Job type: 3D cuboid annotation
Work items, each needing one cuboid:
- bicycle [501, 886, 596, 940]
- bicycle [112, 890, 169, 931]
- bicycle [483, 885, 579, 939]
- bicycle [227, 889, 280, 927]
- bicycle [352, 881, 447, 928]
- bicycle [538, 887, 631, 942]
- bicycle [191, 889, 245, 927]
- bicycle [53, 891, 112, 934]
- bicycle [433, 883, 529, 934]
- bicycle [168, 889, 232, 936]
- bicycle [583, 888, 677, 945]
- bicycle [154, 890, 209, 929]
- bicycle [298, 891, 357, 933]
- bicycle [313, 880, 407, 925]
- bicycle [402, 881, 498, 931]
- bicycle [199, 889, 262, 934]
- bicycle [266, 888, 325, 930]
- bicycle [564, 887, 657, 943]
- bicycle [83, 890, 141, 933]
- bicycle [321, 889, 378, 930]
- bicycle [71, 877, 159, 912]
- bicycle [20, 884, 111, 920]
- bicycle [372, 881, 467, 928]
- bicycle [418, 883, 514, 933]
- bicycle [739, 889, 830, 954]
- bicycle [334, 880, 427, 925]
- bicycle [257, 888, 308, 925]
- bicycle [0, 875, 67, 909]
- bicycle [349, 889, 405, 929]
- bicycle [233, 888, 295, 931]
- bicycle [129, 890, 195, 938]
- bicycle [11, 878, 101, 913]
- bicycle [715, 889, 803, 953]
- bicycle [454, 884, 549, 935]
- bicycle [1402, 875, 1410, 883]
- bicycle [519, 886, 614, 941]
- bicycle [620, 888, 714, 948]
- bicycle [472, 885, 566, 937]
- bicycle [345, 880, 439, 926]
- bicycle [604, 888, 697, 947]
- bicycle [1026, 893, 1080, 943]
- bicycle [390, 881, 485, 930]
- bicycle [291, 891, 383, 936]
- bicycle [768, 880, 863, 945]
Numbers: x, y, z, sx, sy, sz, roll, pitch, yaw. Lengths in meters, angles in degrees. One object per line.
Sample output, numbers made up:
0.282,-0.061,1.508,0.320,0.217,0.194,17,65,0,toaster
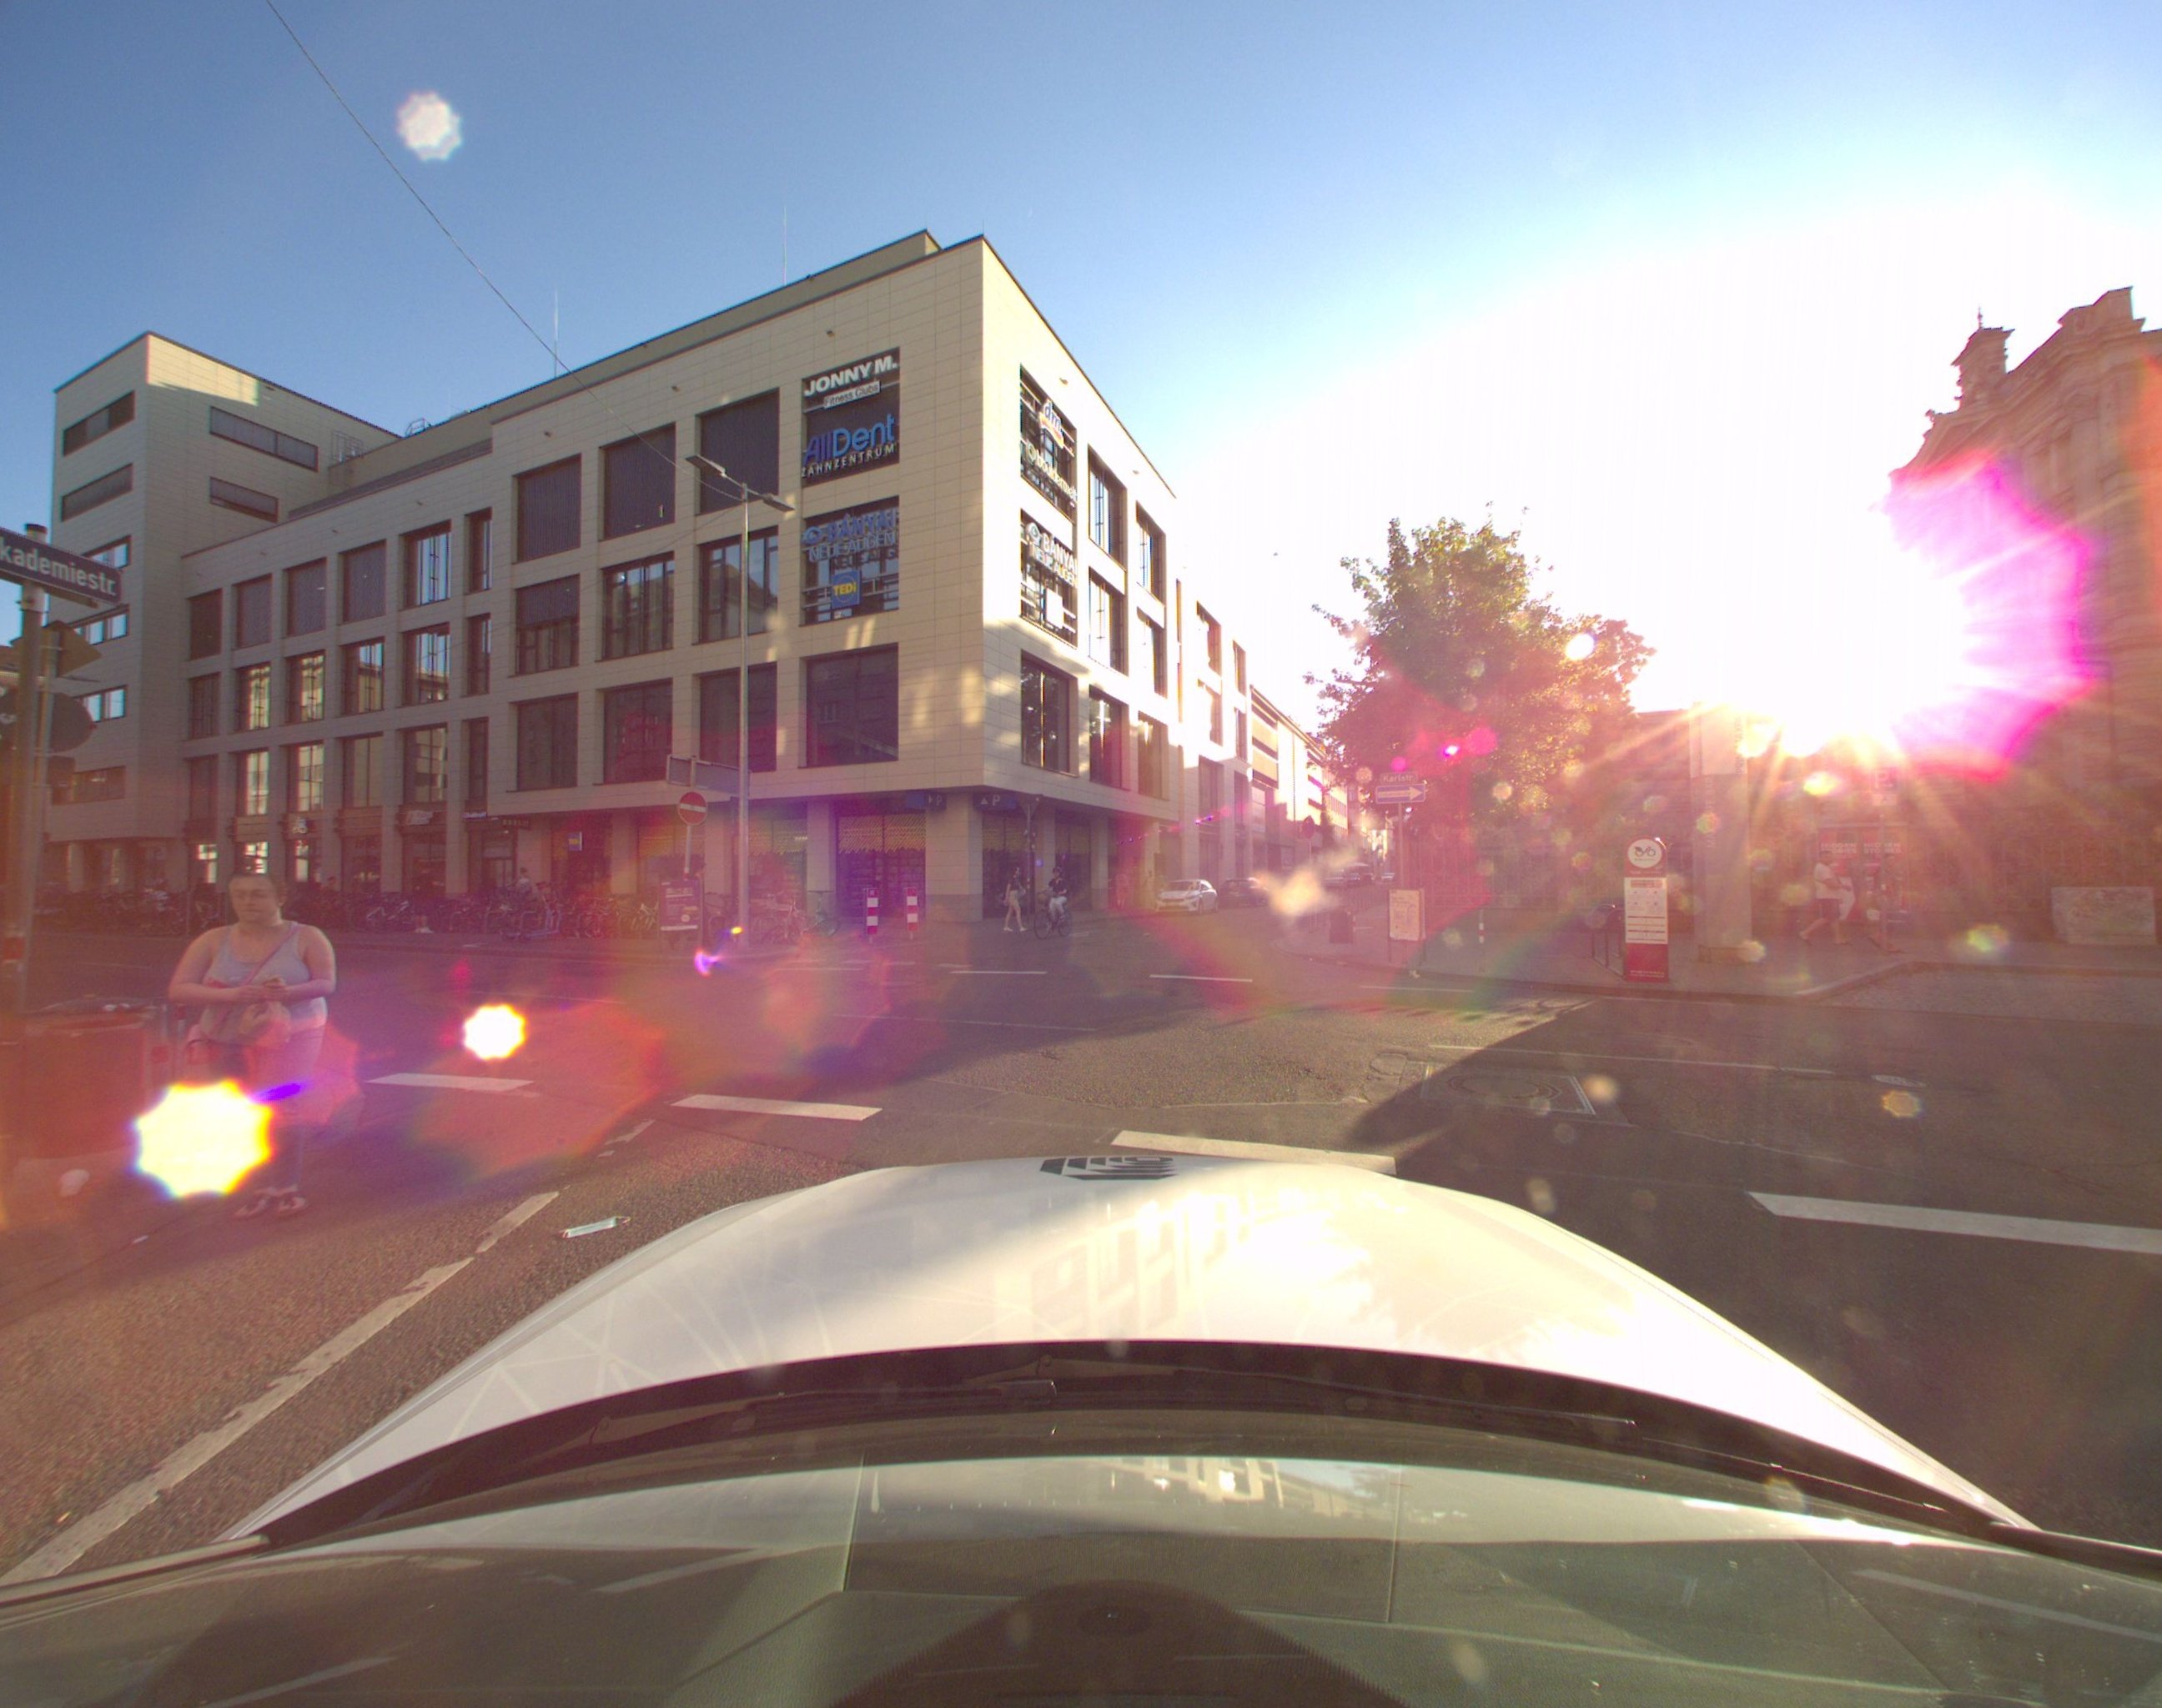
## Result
-13.189,1.424,20.248,0.507,1.255,1.989,0,-2,23,bicycle
-30.022,1.776,25.986,1.955,1.255,0.516,0,-2,21,bicycle
-13.759,1.425,20.443,0.507,1.255,1.989,0,-2,23,bicycle
-28.879,1.862,28.421,1.955,1.255,0.516,0,-2,21,bicycle
-18.932,1.374,22.684,0.507,1.255,1.989,0,-2,23,bicycle
-11.928,1.422,19.641,0.507,1.255,1.989,0,-2,21,bicycle
-29.327,1.826,27.671,1.955,1.255,0.516,0,-2,21,bicycle
-30.311,1.758,24.721,1.955,1.255,0.516,0,-2,21,bicycle
-15.641,1.389,21.299,0.507,1.255,1.989,0,-2,23,bicycle
-25.090,1.650,23.180,1.955,1.255,0.516,0,-2,21,bicycle
-10.479,1.423,19.003,0.507,1.255,1.989,0,-2,23,bicycle
-29.764,1.824,26.940,1.955,1.255,0.516,0,-2,21,bicycle
-23.732,1.800,25.643,1.955,1.255,0.516,0,-2,21,bicycle
-20.951,1.391,23.720,0.507,1.255,1.989,0,-2,23,bicycle
-16.787,1.361,21.718,0.507,1.255,1.989,0,-2,23,bicycle
-24.869,1.667,23.805,1.955,1.255,0.516,0,-2,21,bicycle
-24.281,1.680,25.167,1.955,1.255,0.516,0,-2,21,bicycle
-11.142,1.420,19.375,0.507,1.255,1.989,0,-2,23,bicycle
-30.227,1.780,25.402,1.955,1.255,0.516,0,-2,21,bicycle
-23.730,1.785,26.414,1.955,1.255,0.516,0,-2,21,bicycle
-35.541,1.479,29.995,0.507,1.255,1.989,0,-2,23,bicycle
-36.801,1.725,29.556,0.508,1.255,1.987,0,-2,16,bicycle
-18.216,1.366,22.481,0.507,1.255,1.989,0,-2,23,bicycle
-16.196,1.391,21.512,0.507,1.255,1.989,0,-2,23,bicycle
-6.184,1.369,17.126,0.576,1.255,2.054,0,-2,21,bicycle
-20.237,1.377,23.578,0.507,1.255,1.989,0,-2,23,bicycle
-28.611,1.873,29.167,1.955,1.255,0.516,0,-2,21,bicycle
-39.240,1.395,30.197,0.508,1.255,1.987,0,-2,16,bicycle
-23.363,1.813,27.018,1.955,1.255,0.516,0,-2,21,bicycle
-24.553,1.652,24.468,1.955,1.255,0.516,0,-2,21,bicycle
-25.355,1.650,22.470,1.955,1.255,0.516,0,-2,21,bicycle
-37.748,1.514,30.027,0.508,1.255,1.987,0,-2,16,bicycle
-6.791,1.379,17.313,0.507,1.255,1.989,0,-2,21,bicycle
-14.943,1.405,21.063,0.507,1.255,1.989,0,-2,23,bicycle
48.968,3.790,122.516,0.966,1.280,2.769,0,-2,25,bicycle
-12.507,1.425,19.875,0.507,1.255,1.989,0,-2,23,bicycle
-9.332,1.408,18.450,0.507,1.255,1.989,0,-2,23,bicycle
-14.313,1.418,20.819,0.507,1.255,1.989,0,-2,23,bicycle
-19.486,1.368,23.088,0.507,1.255,1.989,0,-2,23,bicycle
-9.839,1.421,18.700,0.507,1.255,1.989,0,-2,23,bicycle
-0.663,1.533,19.963,0.658,1.138,1.831,0,-2,21,bicycle
-17.465,1.369,22.154,0.507,1.255,1.989,0,-2,23,bicycle
-22.366,1.761,24.530,0.507,1.255,1.989,0,-2,23,bicycle
-5.457,1.168,16.900,0.658,1.255,2.151,0,-2,21,bicycle
